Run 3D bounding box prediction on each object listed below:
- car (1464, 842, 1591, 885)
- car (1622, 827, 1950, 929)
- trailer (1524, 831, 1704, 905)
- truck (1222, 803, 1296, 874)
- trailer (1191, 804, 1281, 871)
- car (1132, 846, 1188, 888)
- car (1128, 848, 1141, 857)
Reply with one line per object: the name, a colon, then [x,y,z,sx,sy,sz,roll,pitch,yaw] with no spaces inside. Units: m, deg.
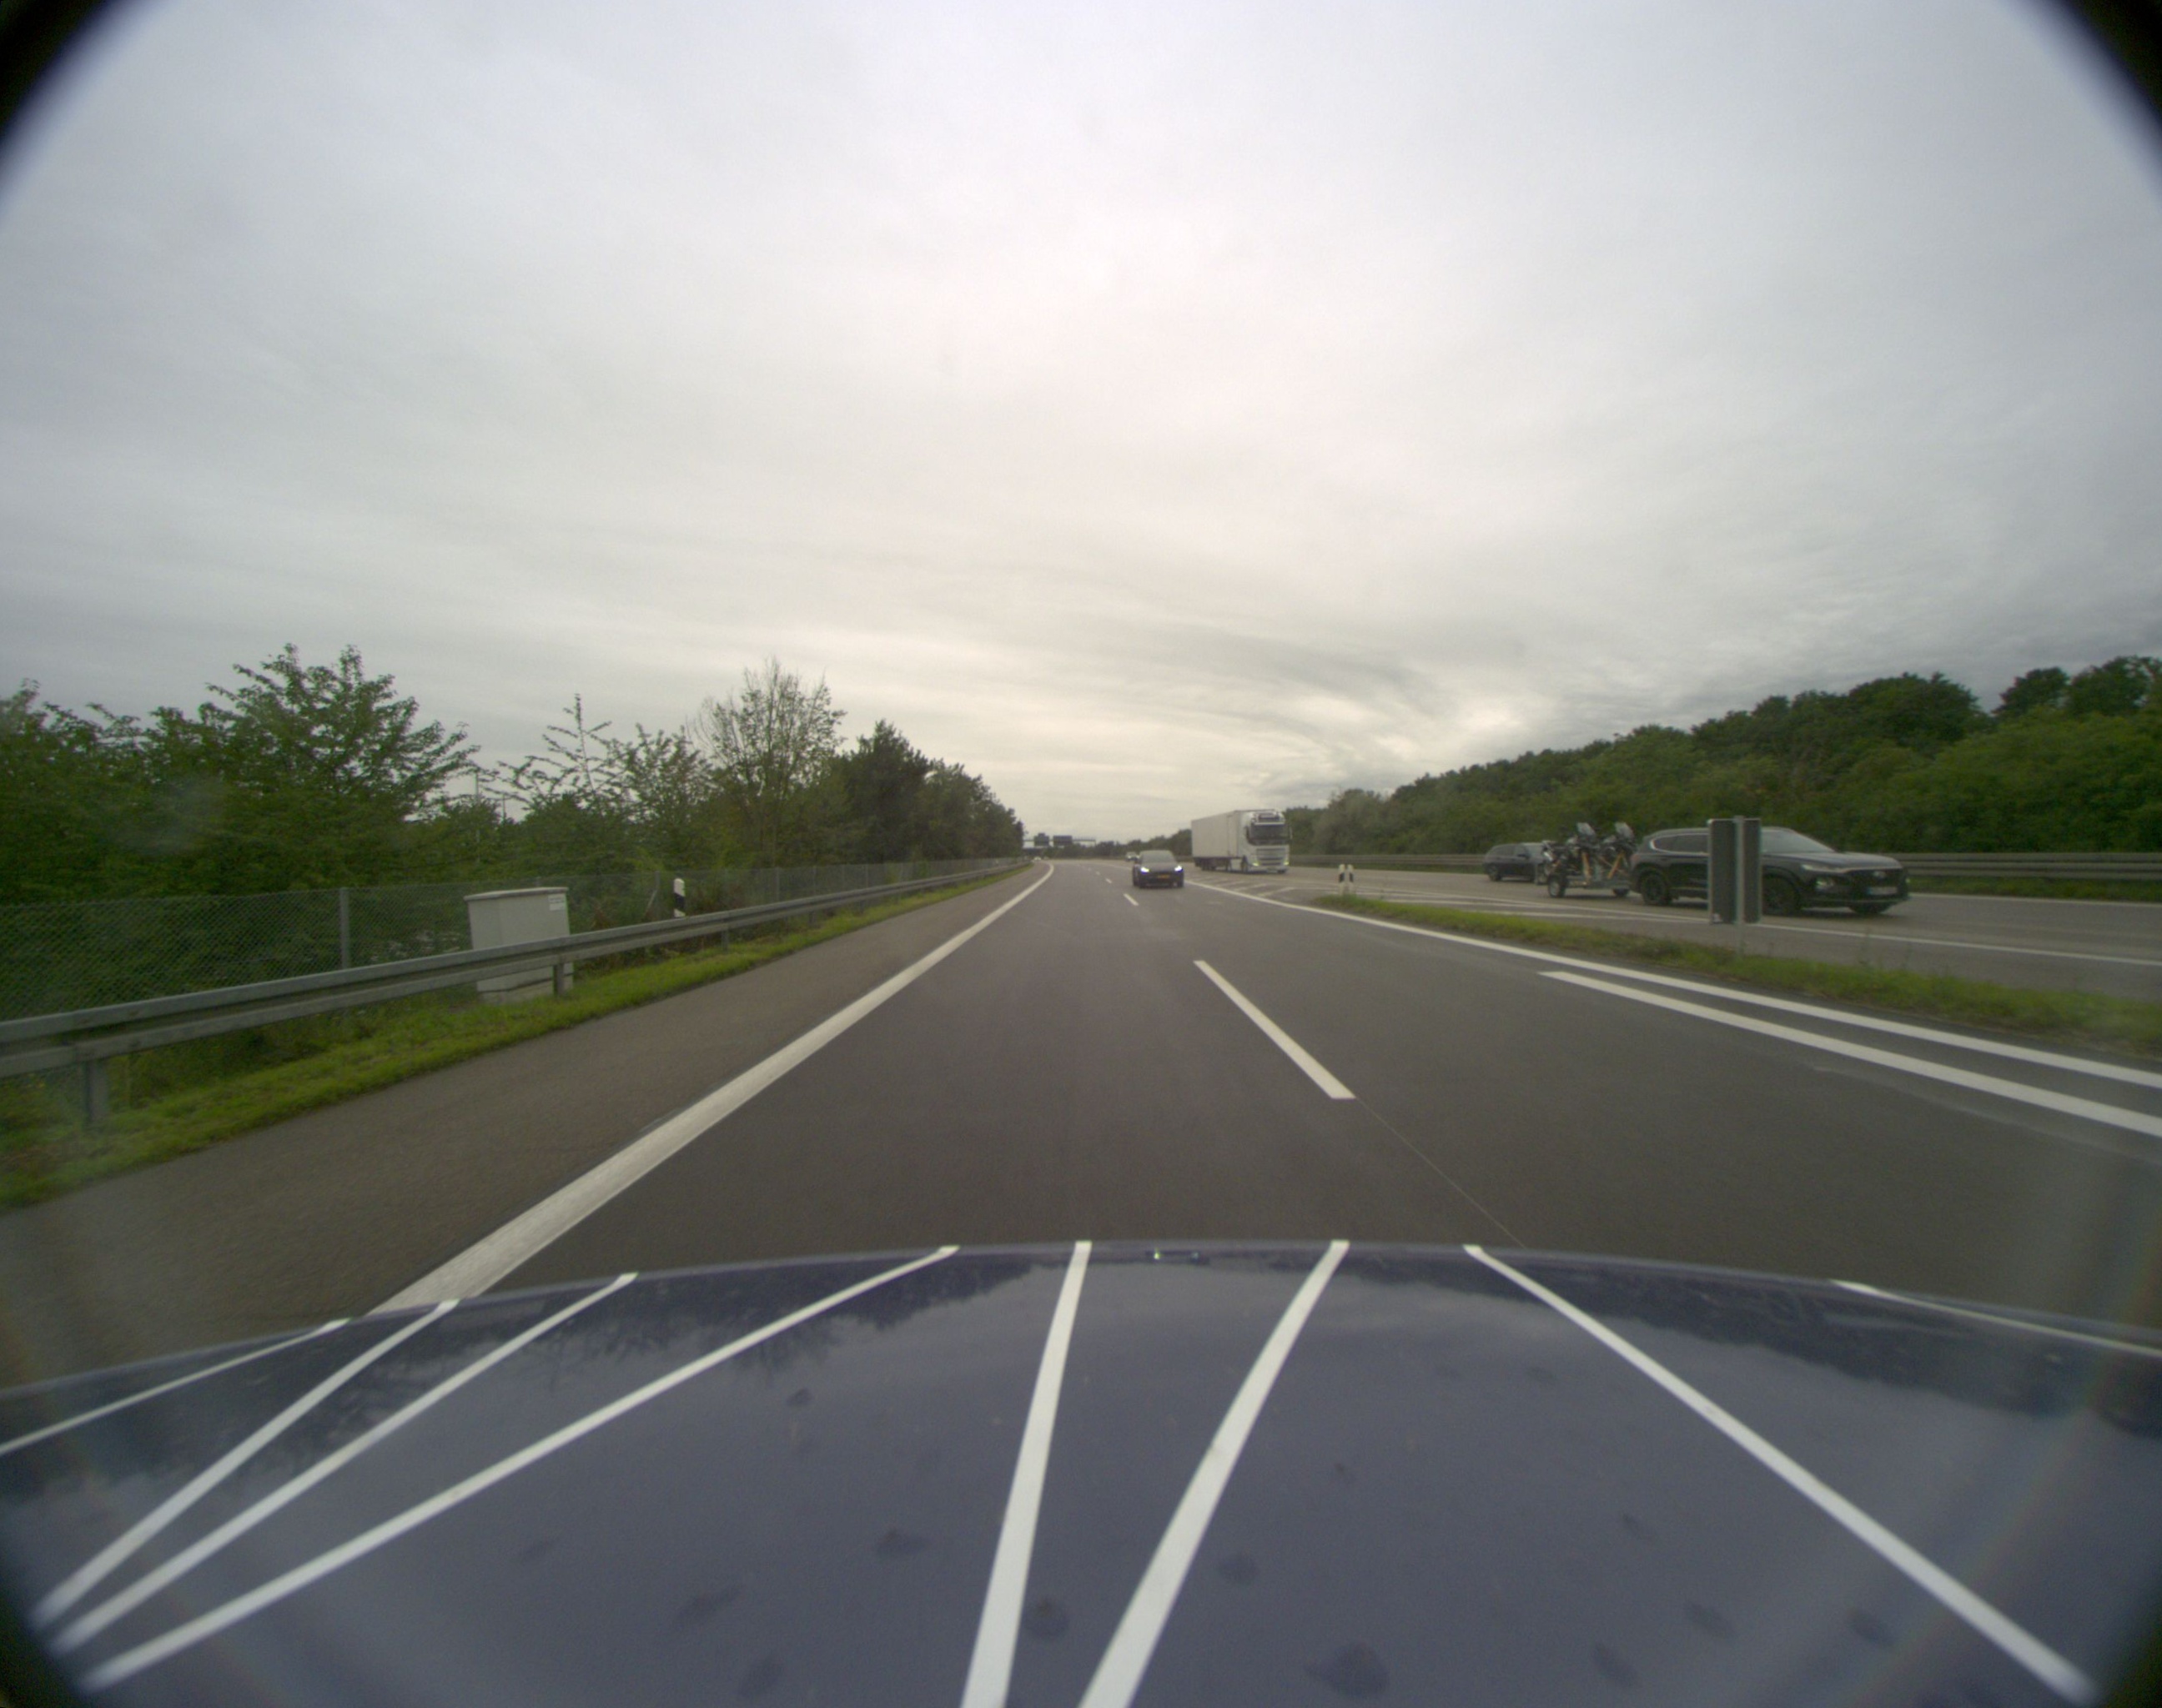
car: [16.672,0.294,28.694,1.808,1.383,4.773,-2,1,-3]
car: [13.406,0.362,14.998,1.887,1.617,4.805,-2,1,-2]
trailer: [13.226,0.294,19.157,1.887,1.617,3.609,-2,1,-2]
truck: [11.236,-0.971,48.636,2.774,4.111,6.442,-3,1,-3]
trailer: [10.852,-1.072,55.149,2.774,4.111,13.946,-3,1,-3]
car: [3.431,0.510,33.771,1.966,1.628,4.553,-2,1,0]
car: [9.737,-0.318,139.695,1.904,1.641,4.484,-2,1,-2]
